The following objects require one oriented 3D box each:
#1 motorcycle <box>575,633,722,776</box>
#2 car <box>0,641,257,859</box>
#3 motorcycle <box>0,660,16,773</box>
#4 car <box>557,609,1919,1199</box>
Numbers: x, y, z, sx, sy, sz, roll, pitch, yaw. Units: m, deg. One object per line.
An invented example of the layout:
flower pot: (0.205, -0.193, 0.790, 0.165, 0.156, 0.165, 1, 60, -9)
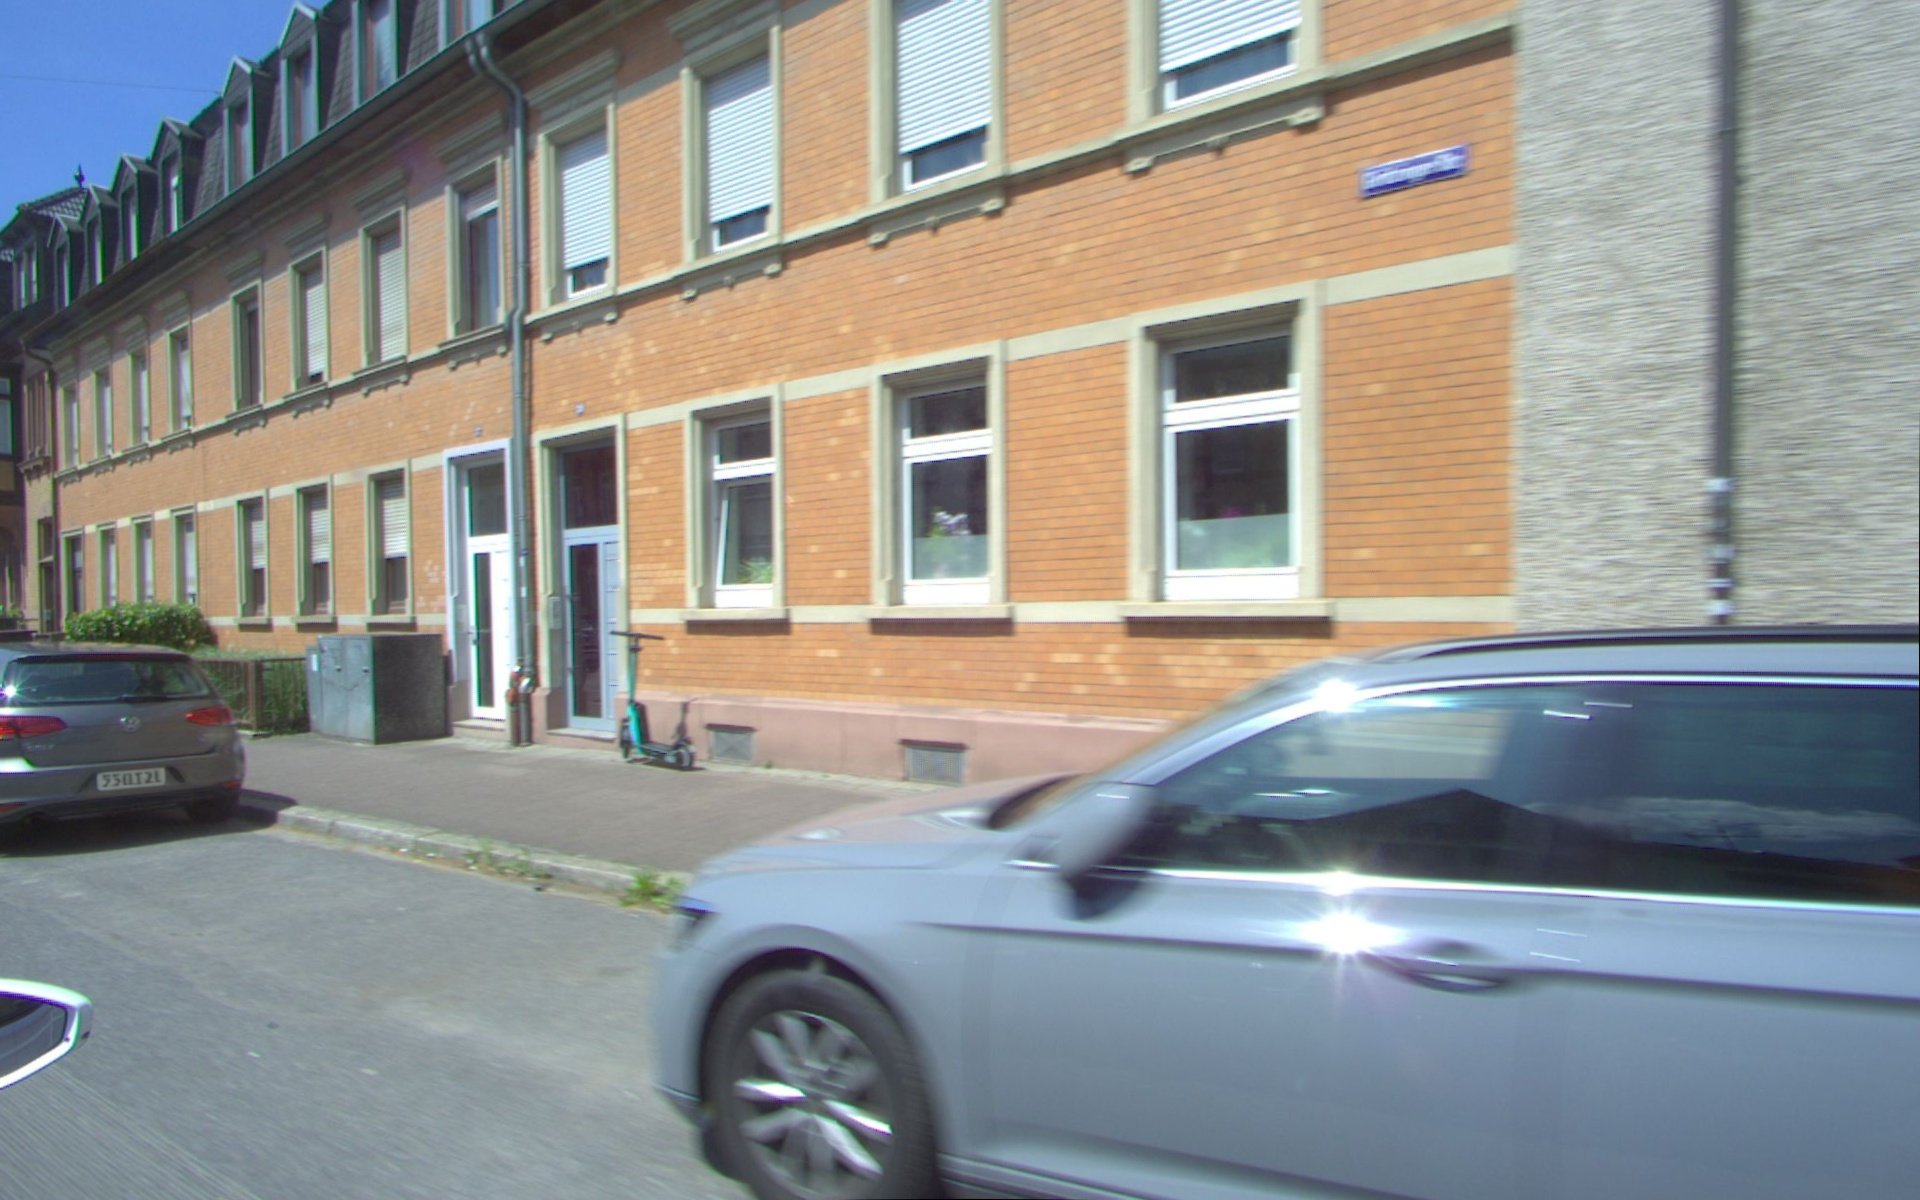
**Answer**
motorcycle: (-2.925, 0.944, 9.374, 1.343, 1.240, 0.594, -2, -1, 34)
car: (-7.636, 1.054, 8.143, 4.107, 1.398, 1.698, -2, -2, 32)
motorcycle: (-11.400, 1.279, 10.445, 1.961, 1.240, 1.111, -1, -2, -17)
car: (1.315, 0.792, 2.540, 4.479, 1.482, 1.853, -2, -2, 27)
